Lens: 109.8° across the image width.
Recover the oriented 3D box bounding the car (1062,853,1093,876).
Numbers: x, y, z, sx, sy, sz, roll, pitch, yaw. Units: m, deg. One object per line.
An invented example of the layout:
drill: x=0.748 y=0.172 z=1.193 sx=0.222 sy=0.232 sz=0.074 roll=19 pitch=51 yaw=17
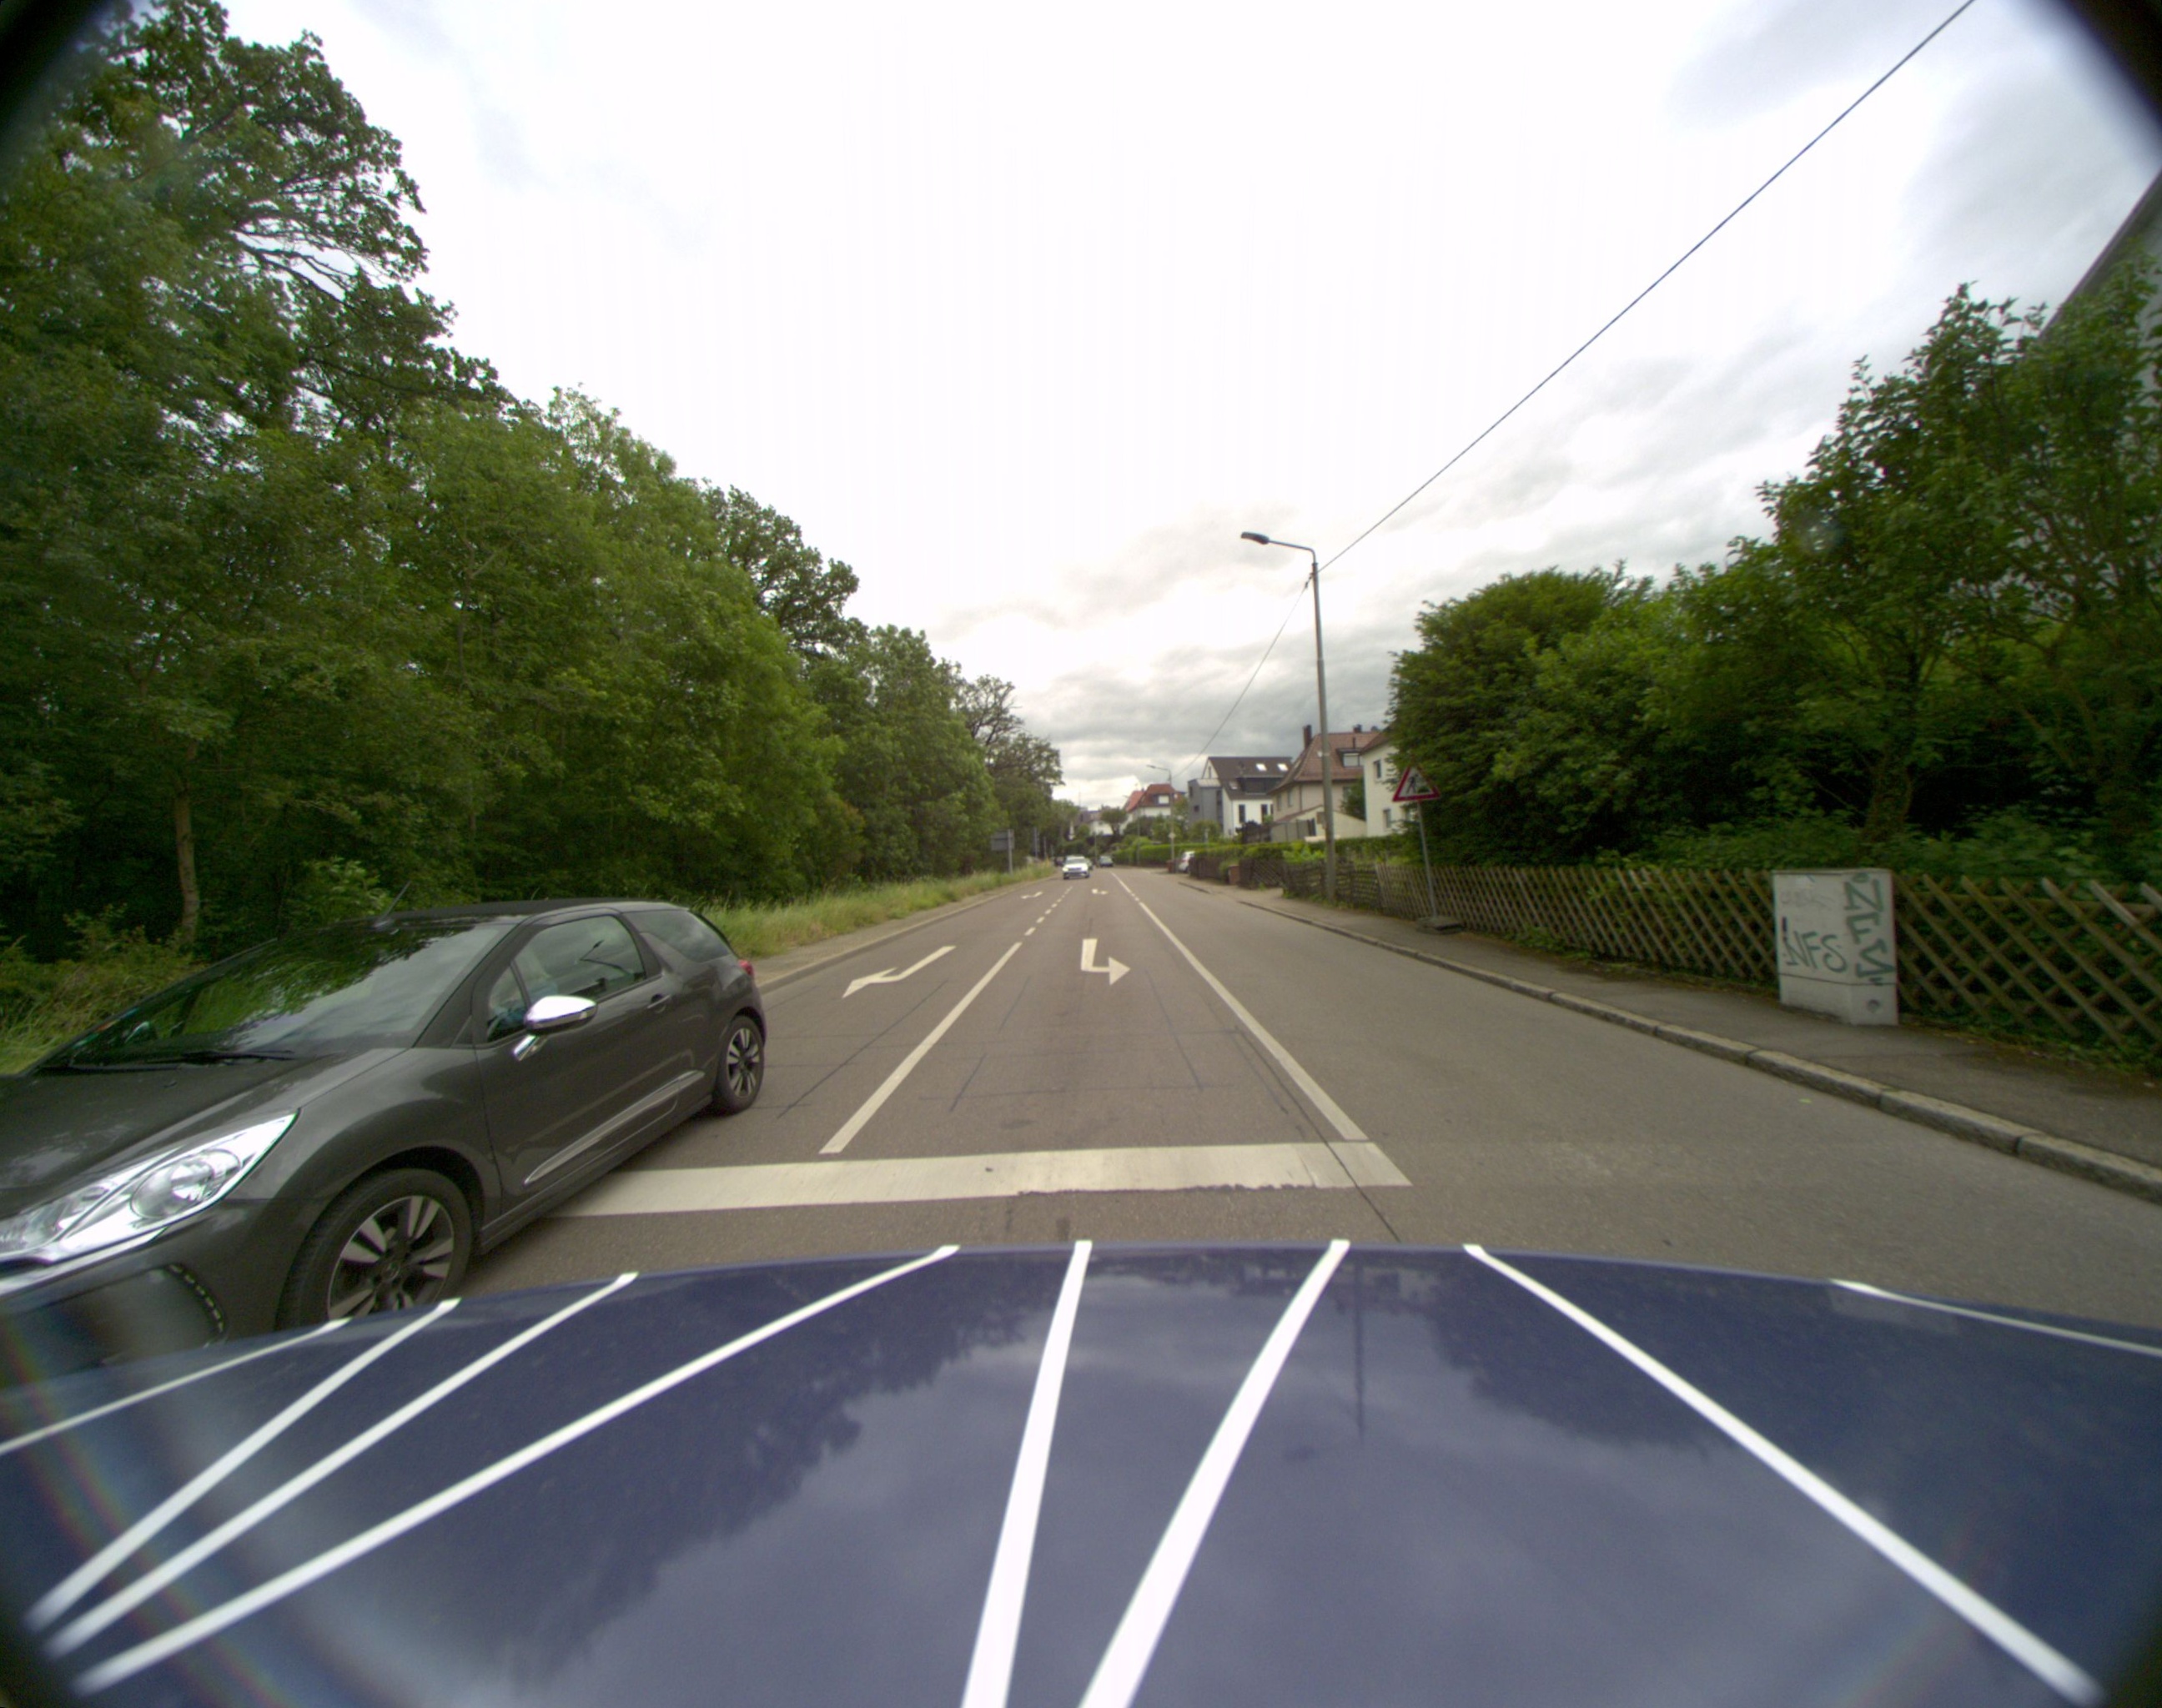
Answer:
car: x=-0.241 y=0.736 z=57.379 sx=1.998 sy=1.565 sz=4.001 roll=-3 pitch=0 yaw=3

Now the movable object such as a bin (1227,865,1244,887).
movable object such as a bin: x=6.718 y=0.942 z=33.071 sx=0.634 sy=0.907 sz=0.561 roll=-4 pitch=0 yaw=11

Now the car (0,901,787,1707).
car: x=-3.068 y=1.116 z=3.464 sx=1.730 sy=1.449 sz=3.855 roll=-3 pitch=0 yaw=3

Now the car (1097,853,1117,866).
car: x=3.446 y=0.720 z=100.758 sx=1.840 sy=1.514 sz=3.997 roll=-3 pitch=0 yaw=-9

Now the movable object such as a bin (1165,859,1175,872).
movable object such as a bin: x=6.797 y=0.854 z=58.006 sx=0.690 sy=0.948 sz=0.572 roll=-2 pitch=1 yaw=0

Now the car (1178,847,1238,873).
car: x=9.203 y=0.430 z=55.167 sx=3.997 sy=1.584 sz=1.718 roll=-5 pitch=0 yaw=1

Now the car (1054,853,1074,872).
car: x=-1.858 y=0.948 z=84.892 sx=1.998 sy=2.002 sz=4.000 roll=-2 pitch=0 yaw=1

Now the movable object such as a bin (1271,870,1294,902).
movable object such as a bin: x=6.214 y=0.971 z=23.393 sx=0.551 sy=0.933 sz=0.538 roll=-2 pitch=1 yaw=3
